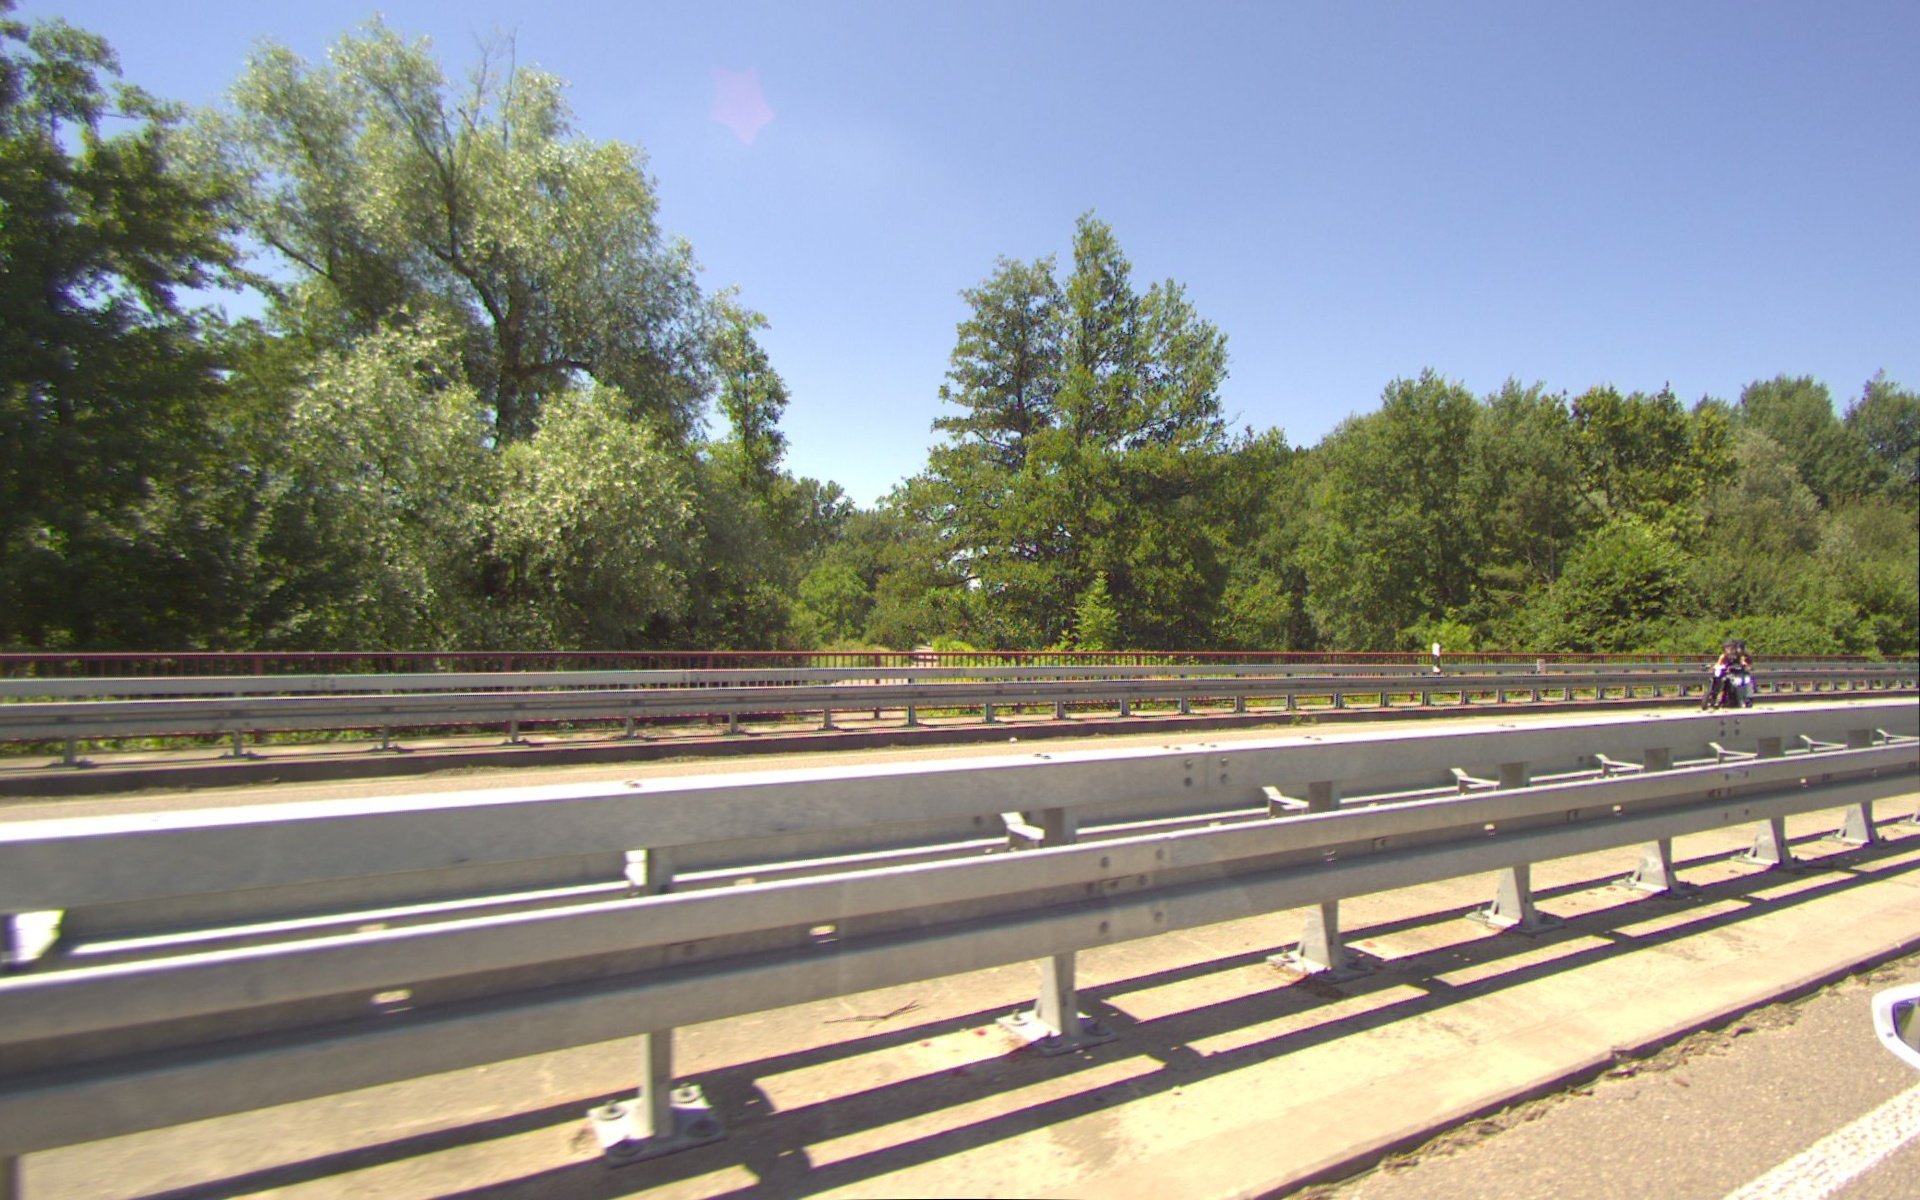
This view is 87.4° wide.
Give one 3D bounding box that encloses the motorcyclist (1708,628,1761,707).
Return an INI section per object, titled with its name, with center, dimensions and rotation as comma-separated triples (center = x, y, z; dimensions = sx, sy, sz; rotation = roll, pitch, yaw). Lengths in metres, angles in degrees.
[motorcyclist]
center = 15.758, 1.358, 20.433
dimensions = 0.767, 1.561, 0.612
rotation = 1, -1, -30

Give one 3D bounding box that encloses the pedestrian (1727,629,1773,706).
[pedestrian]
center = 16.314, 1.377, 20.758
dimensions = 0.488, 1.561, 0.612
rotation = 1, -1, -29

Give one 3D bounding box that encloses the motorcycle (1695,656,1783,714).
[motorcycle]
center = 15.956, 1.718, 20.553
dimensions = 2.286, 1.118, 0.612
rotation = 2, -2, -30
